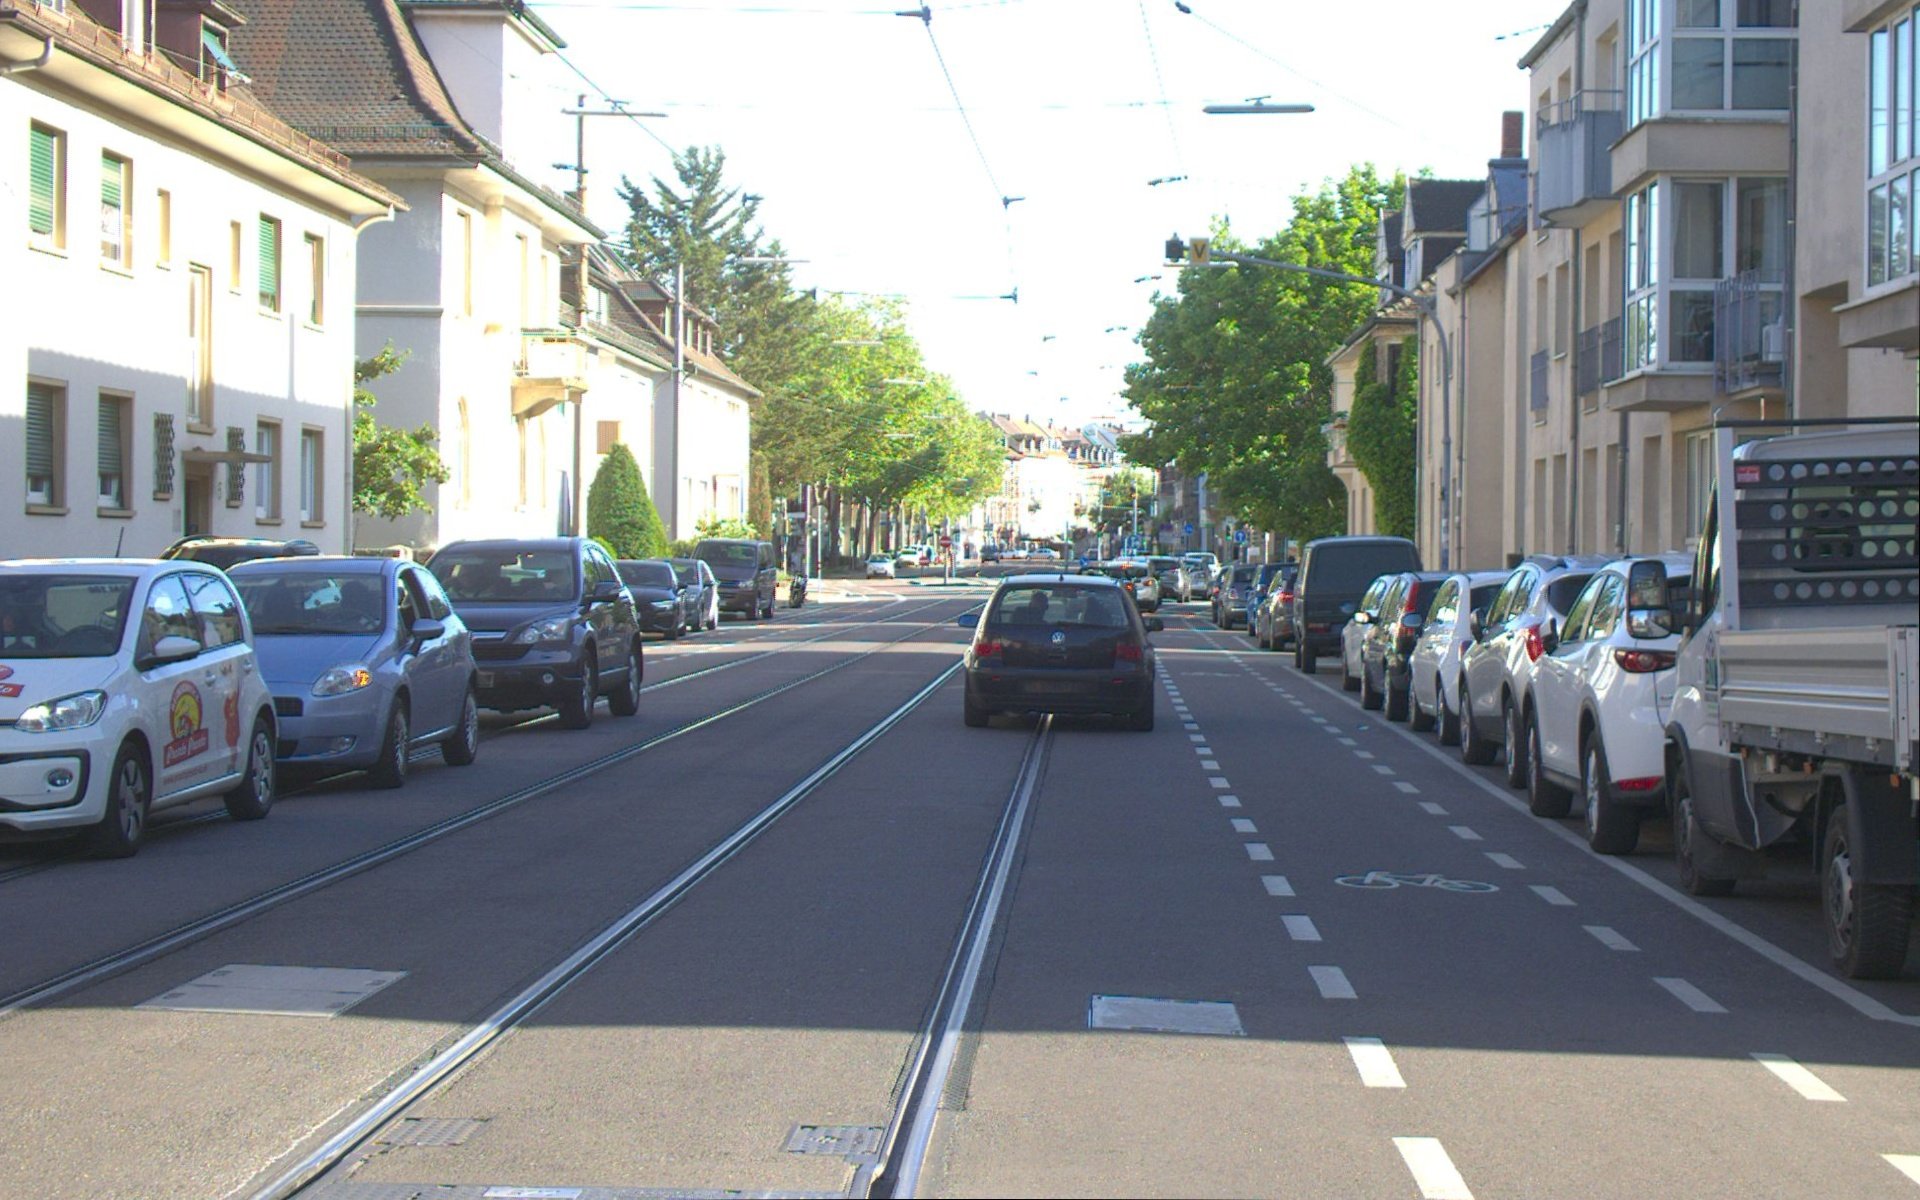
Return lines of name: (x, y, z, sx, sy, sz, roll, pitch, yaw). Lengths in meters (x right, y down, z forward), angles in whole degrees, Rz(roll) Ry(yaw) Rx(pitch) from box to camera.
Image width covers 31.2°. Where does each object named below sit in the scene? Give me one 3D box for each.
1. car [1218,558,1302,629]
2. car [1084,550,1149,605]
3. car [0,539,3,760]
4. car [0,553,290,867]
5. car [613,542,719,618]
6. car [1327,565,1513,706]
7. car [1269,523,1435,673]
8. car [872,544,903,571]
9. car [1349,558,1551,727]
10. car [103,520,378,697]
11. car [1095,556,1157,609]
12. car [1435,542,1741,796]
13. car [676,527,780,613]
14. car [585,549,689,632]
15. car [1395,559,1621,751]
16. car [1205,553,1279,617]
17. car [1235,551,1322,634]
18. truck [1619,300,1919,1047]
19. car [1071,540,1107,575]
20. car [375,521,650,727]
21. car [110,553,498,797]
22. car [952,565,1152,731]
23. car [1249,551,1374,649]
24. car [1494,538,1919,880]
car: (6.957, -0.165, 79.893, 1.601, 1.520, 3.549, 2, 1, 0)
car: (4.067, -0.596, 89.206, 1.634, 1.367, 3.757, 1, 1, 3)
car: (-7.934, 0.395, 23.460, 1.615, 1.622, 3.921, -1, 1, 1)
car: (-4.720, 0.496, 17.827, 1.582, 1.456, 3.613, 0, 1, 3)
car: (-6.123, -0.440, 72.003, 1.677, 1.472, 3.835, 2, 1, 2)
car: (5.384, 0.378, 40.664, 1.677, 1.486, 4.173, 2, 1, 1)
car: (5.603, -0.068, 49.649, 1.906, 1.980, 4.563, 2, 1, 1)
car: (-4.005, -2.347, 189.490, 1.575, 1.472, 3.441, 0, 1, -4)
car: (4.925, 0.386, 34.964, 1.554, 1.552, 3.652, 2, 1, 1)
car: (-7.327, 0.056, 35.457, 1.762, 1.699, 4.555, -1, 1, 1)
car: (4.744, -0.520, 98.456, 1.740, 1.436, 3.809, 1, 1, 2)
car: (4.647, 0.447, 25.935, 1.602, 1.694, 3.989, 2, 1, 1)
car: (-5.750, -0.776, 85.821, 1.906, 2.007, 4.948, 2, 1, 3)
car: (-6.084, -0.204, 65.154, 1.662, 1.472, 4.251, 1, 1, -2)
car: (4.857, 0.445, 30.821, 1.496, 1.552, 3.365, 2, 1, 1)
car: (7.206, -0.398, 88.101, 1.666, 1.558, 3.770, 2, 1, 2)
car: (6.581, -0.172, 71.198, 1.457, 1.593, 3.294, 2, 1, 0)
truck: (4.387, 0.205, 14.382, 2.295, 2.469, 6.146, 1, 1, 3)
car: (7.274, -2.412, 193.961, 1.787, 1.853, 4.000, 3, 1, 1)
car: (-3.899, 0.173, 30.623, 1.704, 1.699, 4.364, 0, 1, 2)
car: (-4.222, 0.430, 22.729, 1.617, 1.456, 4.075, -1, 1, 2)
car: (0.885, 0.397, 31.933, 1.716, 1.398, 4.006, 1, 1, 2)
car: (6.249, -0.033, 61.511, 1.744, 1.593, 4.434, 2, 1, 0)
car: (4.318, 0.545, 20.375, 1.739, 1.740, 4.255, 2, 1, 2)
